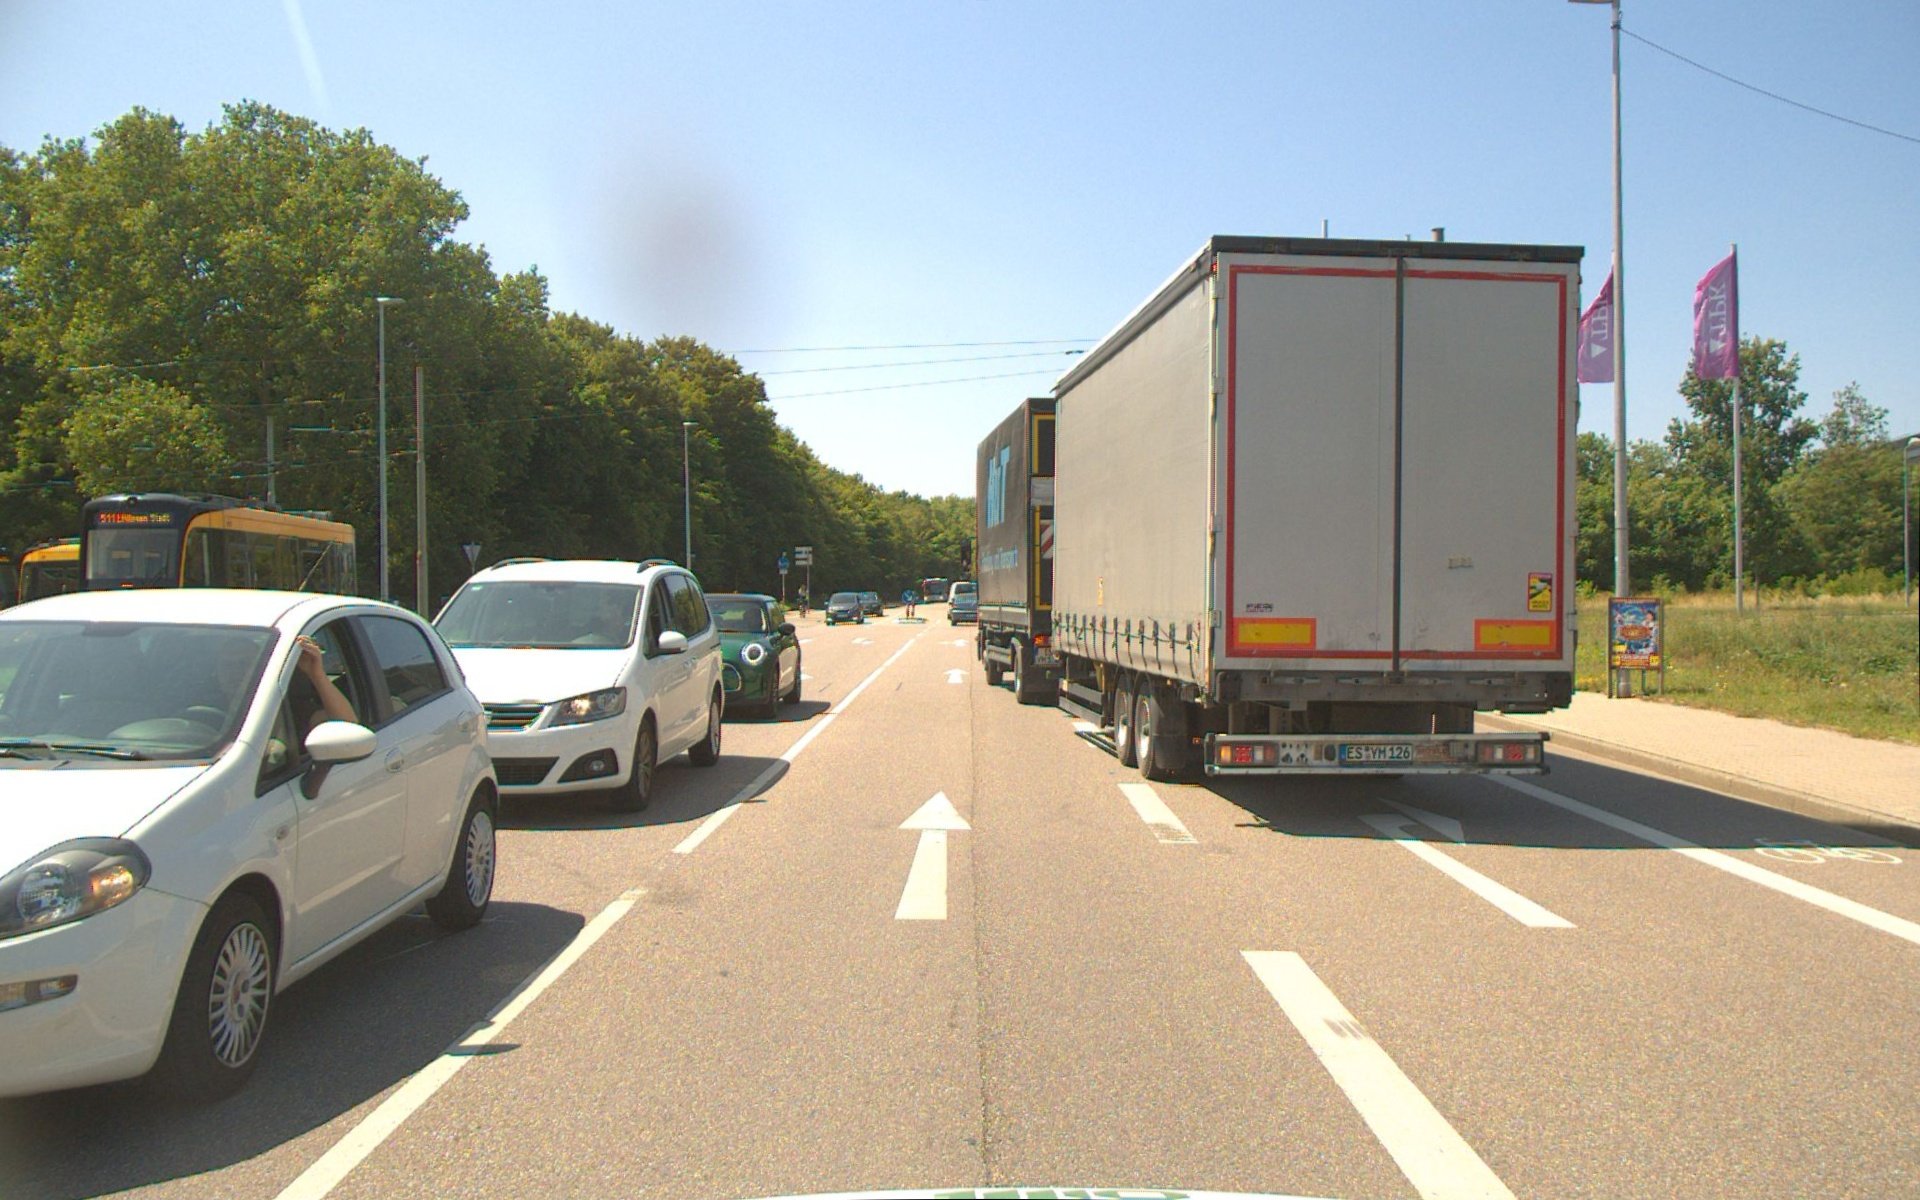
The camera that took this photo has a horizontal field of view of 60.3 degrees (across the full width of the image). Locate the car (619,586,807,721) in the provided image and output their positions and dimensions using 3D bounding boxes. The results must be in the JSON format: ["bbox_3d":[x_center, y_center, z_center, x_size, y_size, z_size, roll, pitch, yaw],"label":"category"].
[{"bbox_3d":[-2.922,0.573,20.354,1.687,1.488,3.990,0,1,0],"label":"car"}]

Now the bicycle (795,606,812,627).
[{"bbox_3d":[-8.600,0.884,90.803,0.655,1.073,2.046,1,1,2],"label":"bicycle"}]

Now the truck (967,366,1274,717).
[{"bbox_3d":[1.938,-0.723,23.657,3.017,4.141,7.951,0,0,-5],"label":"truck"}]

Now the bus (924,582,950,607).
[{"bbox_3d":[-3.071,-0.781,220.512,2.692,3.098,11.943,-2,1,2],"label":"bus"}]

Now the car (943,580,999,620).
[{"bbox_3d":[0.504,-0.016,72.263,1.982,1.661,4.003,-1,0,7],"label":"car"}]

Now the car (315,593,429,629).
[{"bbox_3d":[-24.625,0.479,69.291,4.207,1.442,1.668,-1,-1,9],"label":"car"}]

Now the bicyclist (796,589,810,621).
[{"bbox_3d":[-8.590,0.265,90.749,0.651,1.735,0.769,1,1,2],"label":"bicyclist"}]

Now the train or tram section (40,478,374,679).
[{"bbox_3d":[-16.992,-0.509,38.784,2.958,3.824,12.978,-2,1,-6],"label":"train or tram section"}]

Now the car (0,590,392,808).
[{"bbox_3d":[-6.273,0.677,13.619,1.724,1.482,4.285,-1,0,-1],"label":"car"}]

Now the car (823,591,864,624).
[{"bbox_3d":[-5.485,0.327,78.086,1.589,1.481,3.501,-2,0,0],"label":"car"}]

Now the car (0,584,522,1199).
[{"bbox_3d":[-2.940,0.681,5.874,1.732,1.463,3.960,1,0,-1],"label":"car"}]

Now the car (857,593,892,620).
[{"bbox_3d":[-5.048,0.358,98.377,1.708,1.430,4.442,-2,1,1],"label":"car"}]

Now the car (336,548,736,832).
[{"bbox_3d":[-2.950,0.528,12.641,1.774,1.753,4.831,0,1,0],"label":"car"}]

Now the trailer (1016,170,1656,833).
[{"bbox_3d":[2.575,-0.651,15.352,3.017,4.141,9.800,0,0,-4],"label":"trailer"}]

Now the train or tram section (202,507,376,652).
[{"bbox_3d":[-20.338,-0.556,49.587,2.987,3.824,11.493,-2,1,-31],"label":"train or tram section"}]

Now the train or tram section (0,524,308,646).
[{"bbox_3d":[-28.556,-0.428,58.062,13.752,3.824,3.018,-1,1,33],"label":"train or tram section"}]

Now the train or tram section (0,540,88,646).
[{"bbox_3d":[-40.394,-0.063,61.500,13.869,3.824,3.024,-2,1,-4],"label":"train or tram section"}]
